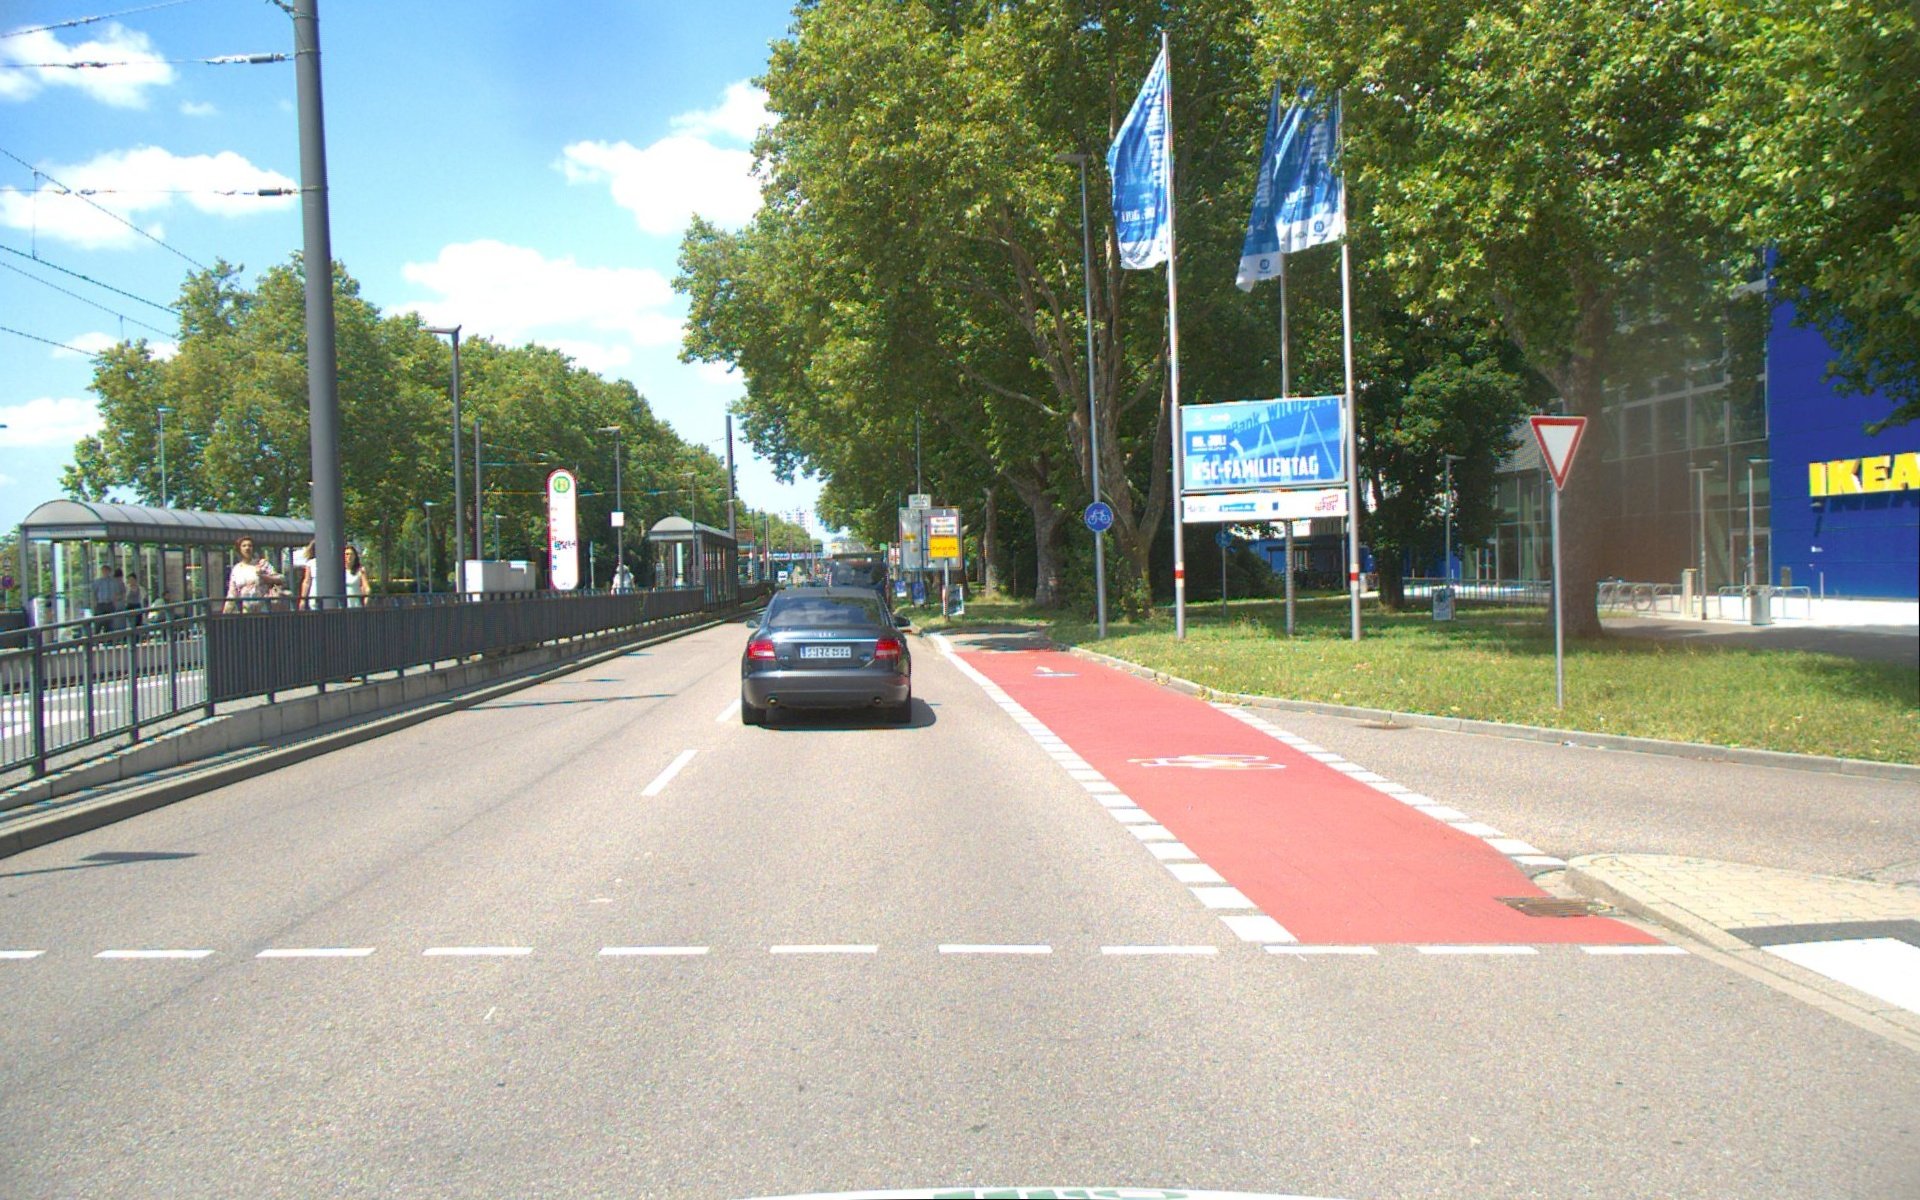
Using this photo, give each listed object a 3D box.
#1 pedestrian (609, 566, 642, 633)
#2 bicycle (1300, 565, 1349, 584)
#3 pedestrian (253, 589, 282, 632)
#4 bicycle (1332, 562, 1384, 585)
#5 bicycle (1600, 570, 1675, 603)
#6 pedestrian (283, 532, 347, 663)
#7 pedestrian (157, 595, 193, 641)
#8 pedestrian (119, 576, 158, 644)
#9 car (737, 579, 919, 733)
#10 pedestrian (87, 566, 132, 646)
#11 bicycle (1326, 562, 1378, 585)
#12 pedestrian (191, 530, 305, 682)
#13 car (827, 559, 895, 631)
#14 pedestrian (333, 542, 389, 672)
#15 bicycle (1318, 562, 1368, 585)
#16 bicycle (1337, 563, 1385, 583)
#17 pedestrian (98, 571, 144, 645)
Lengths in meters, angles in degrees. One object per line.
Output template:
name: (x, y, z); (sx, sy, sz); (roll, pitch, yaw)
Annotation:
pedestrian: (-8.637, -0.019, 42.728); (0.718, 1.694, 0.741); (-1, 1, -4)
bicycle: (19.864, -1.407, 90.193); (2.498, 0.987, 0.757); (-1, 1, -8)
pedestrian: (-20.215, 0.299, 48.304); (0.565, 1.211, 0.638); (-1, 1, -3)
bicycle: (20.614, -1.388, 85.604); (2.498, 1.130, 0.757); (-1, 1, -8)
bicycle: (21.168, -0.436, 51.676); (2.021, 0.986, 0.867); (-1, 1, -7)
pedestrian: (-8.624, -0.037, 22.130); (0.601, 1.710, 0.719); (0, 0, -5)
pedestrian: (-19.338, 0.443, 40.773); (0.565, 1.113, 0.638); (-1, 1, -3)
pedestrian: (-19.310, 0.228, 38.889); (0.565, 1.560, 0.638); (-1, 1, -3)
car: (-1.468, 0.529, 18.481); (1.806, 1.510, 3.996); (0, 1, -5)
pedestrian: (-18.877, 0.135, 36.698); (0.723, 1.759, 0.576); (-1, 1, 34)
bicycle: (20.535, -1.393, 86.647); (2.498, 1.130, 0.757); (-1, 1, -8)
pedestrian: (-7.899, 0.056, 18.397); (0.873, 1.633, 0.923); (-1, 1, -5)
car: (-2.824, -0.172, 48.002); (1.811, 1.993, 4.143); (0, 1, -2)
pedestrian: (-7.517, 0.080, 20.773); (0.487, 1.605, 0.556); (-1, 1, -5)
bicycle: (20.298, -1.397, 87.688); (2.498, 1.130, 0.757); (-1, 1, -8)
bicycle: (20.465, -1.384, 84.477); (2.272, 0.977, 0.757); (-1, 1, -8)
pedestrian: (-19.339, 0.177, 38.115); (0.811, 1.667, 0.576); (-1, 1, 34)
